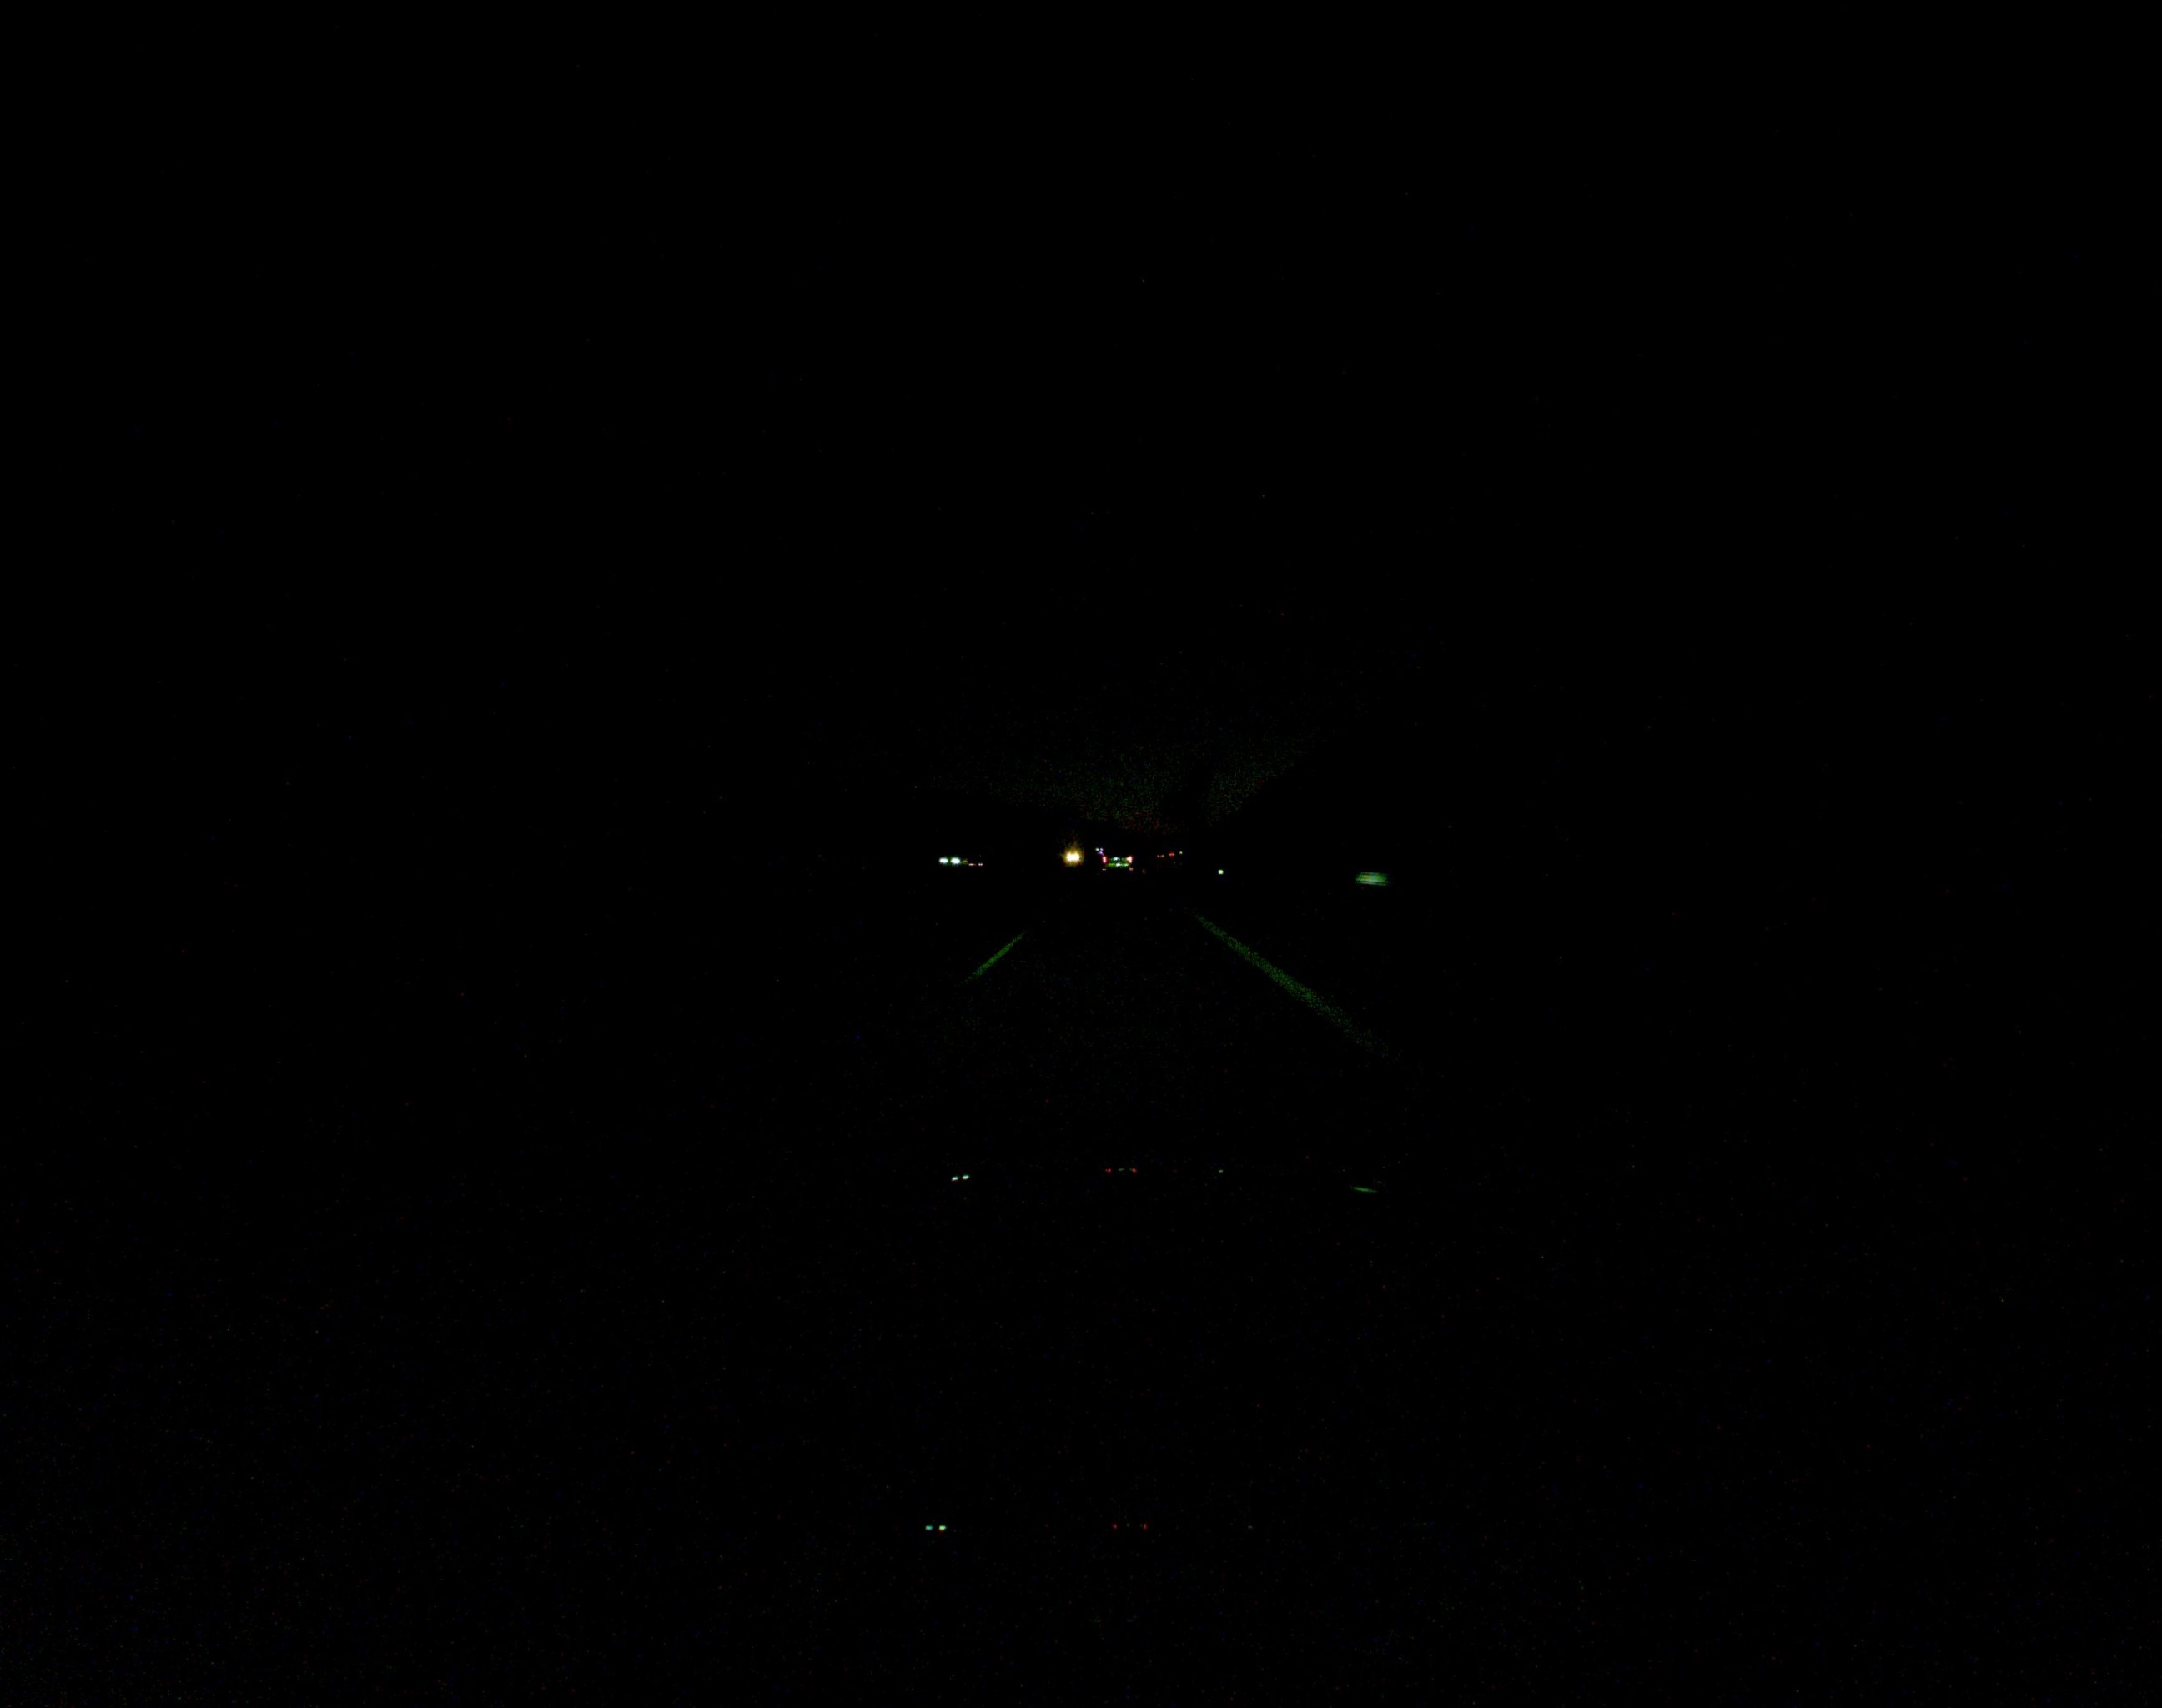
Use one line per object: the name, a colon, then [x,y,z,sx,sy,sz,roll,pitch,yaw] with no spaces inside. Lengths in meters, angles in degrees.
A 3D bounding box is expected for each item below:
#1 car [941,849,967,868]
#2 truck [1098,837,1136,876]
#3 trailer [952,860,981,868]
car: [-16.929,0.658,109.134,2.073,2.487,6.248,-1,-1,4]
truck: [2.672,0.208,60.830,2.620,2.624,8.689,-1,-1,2]
trailer: [-16.245,1.461,116.243,2.404,1.104,8.086,-1,-1,4]
